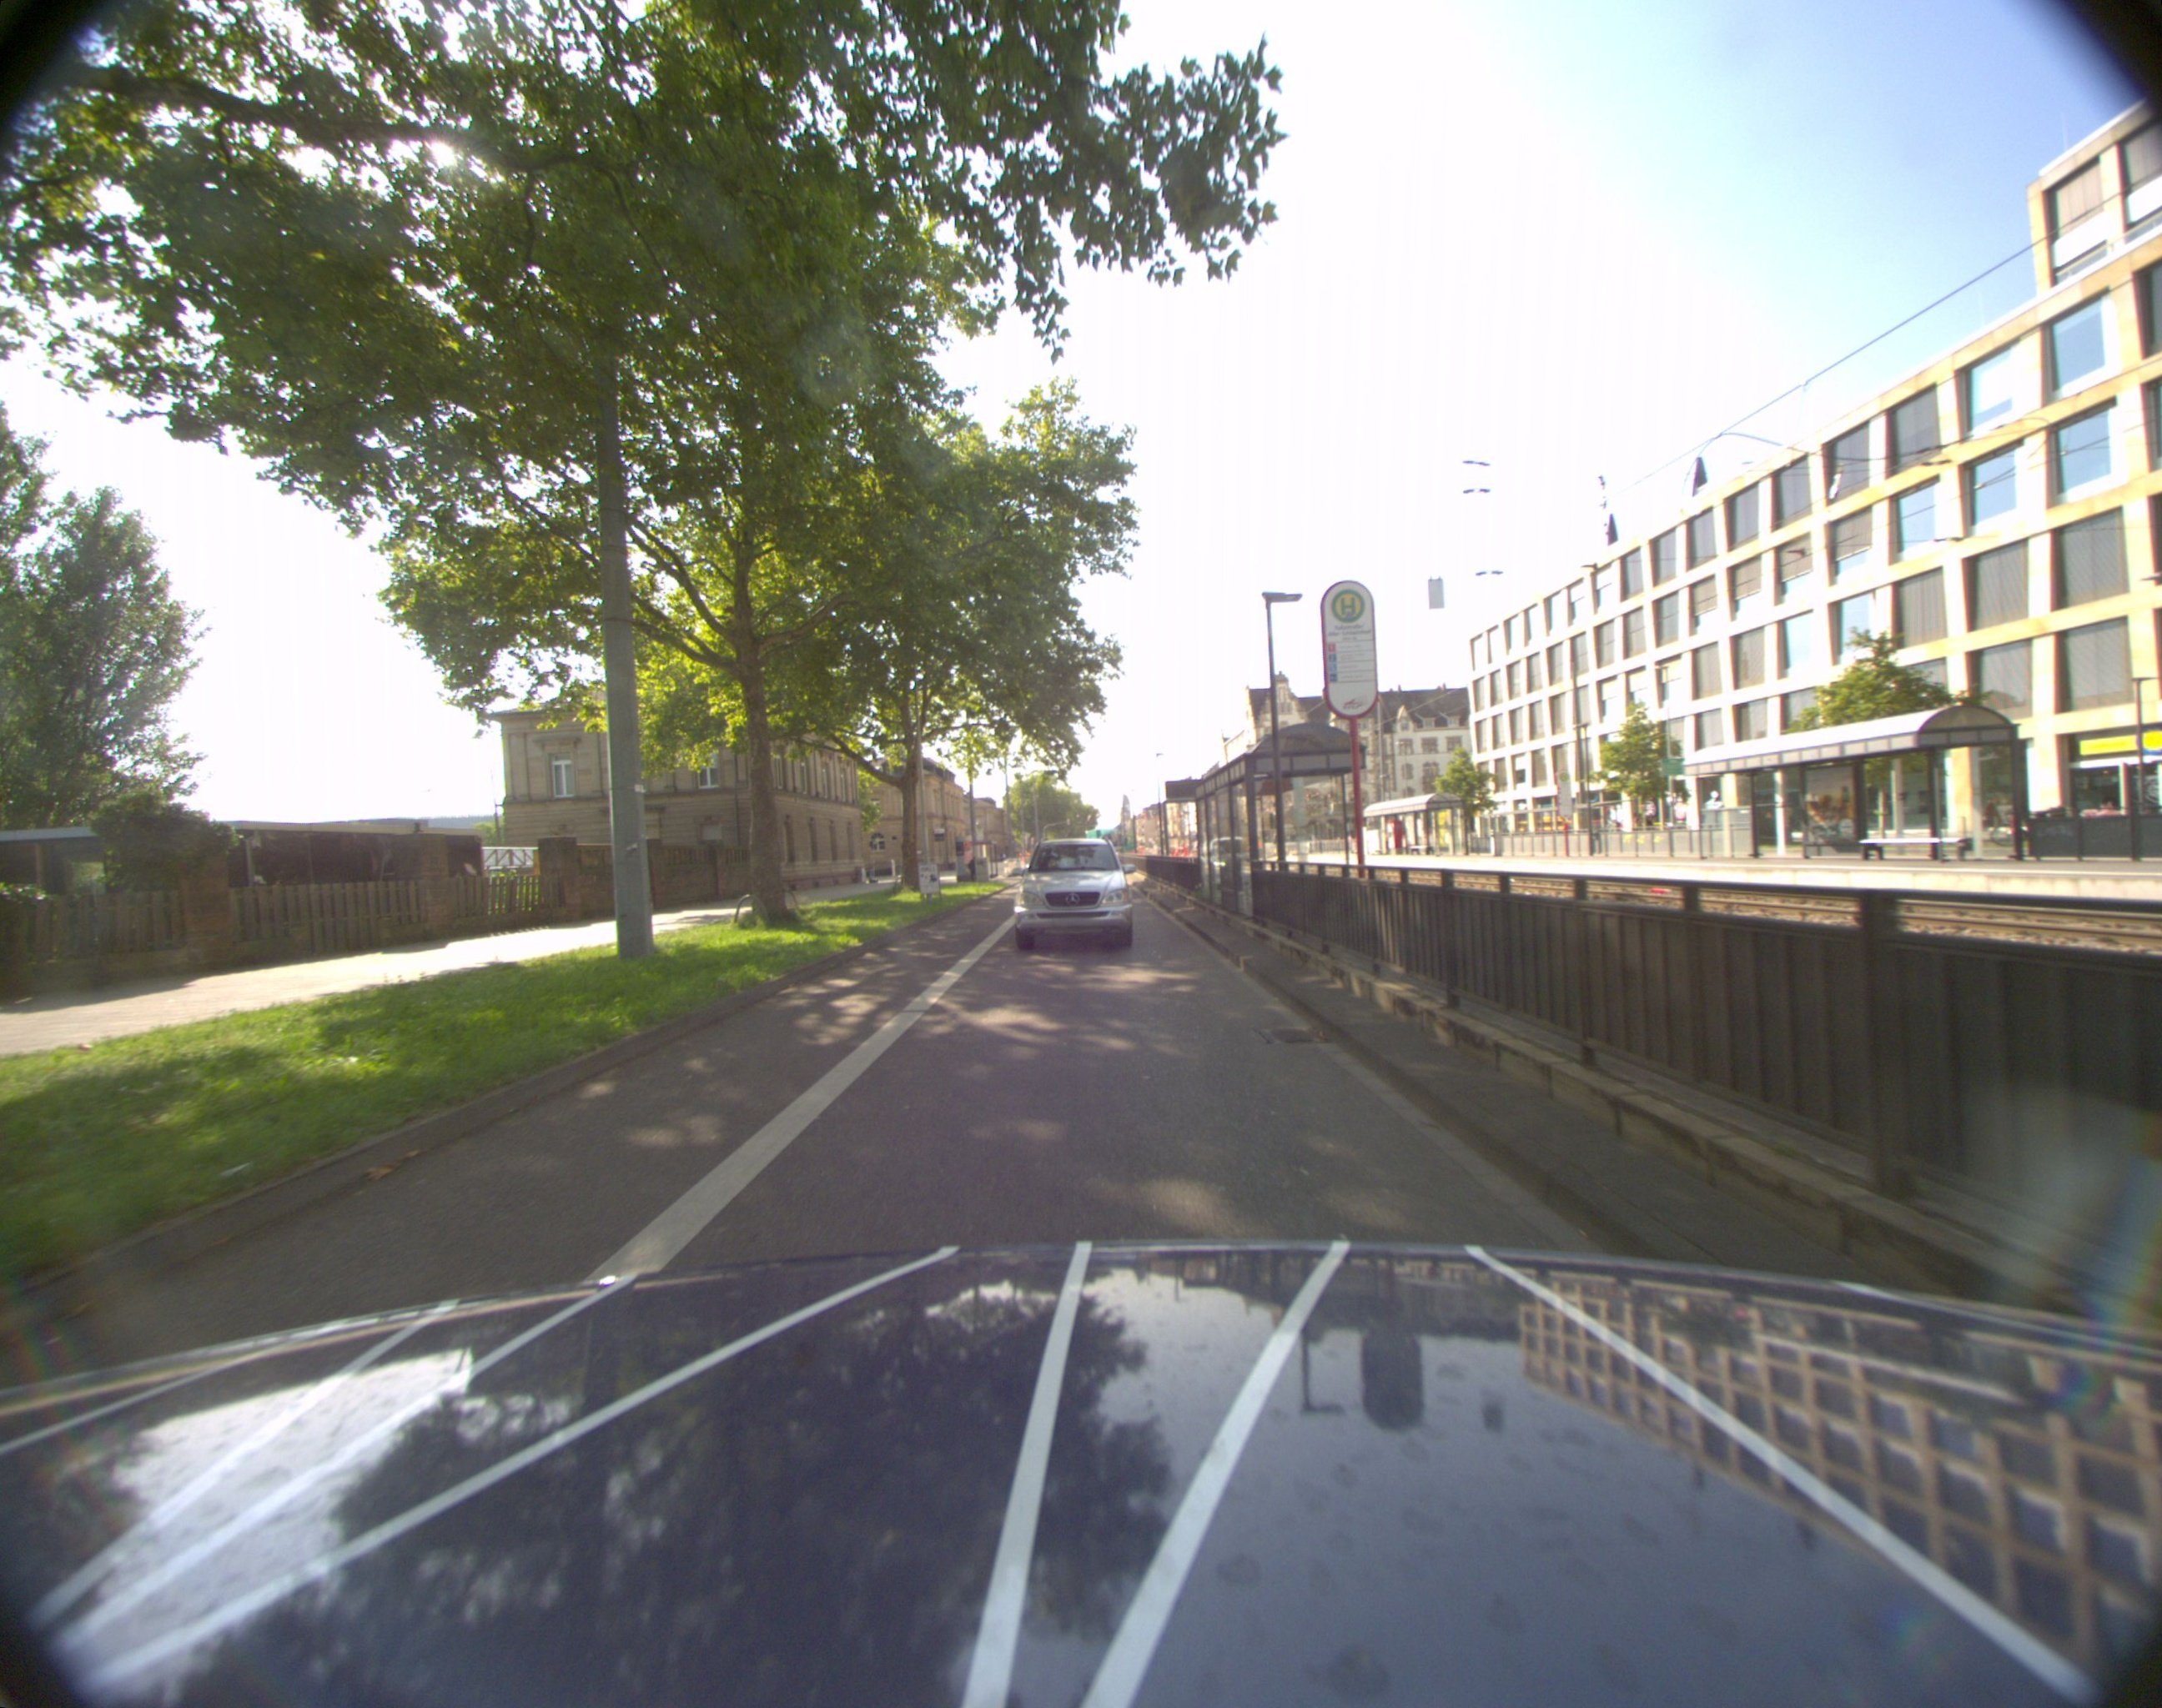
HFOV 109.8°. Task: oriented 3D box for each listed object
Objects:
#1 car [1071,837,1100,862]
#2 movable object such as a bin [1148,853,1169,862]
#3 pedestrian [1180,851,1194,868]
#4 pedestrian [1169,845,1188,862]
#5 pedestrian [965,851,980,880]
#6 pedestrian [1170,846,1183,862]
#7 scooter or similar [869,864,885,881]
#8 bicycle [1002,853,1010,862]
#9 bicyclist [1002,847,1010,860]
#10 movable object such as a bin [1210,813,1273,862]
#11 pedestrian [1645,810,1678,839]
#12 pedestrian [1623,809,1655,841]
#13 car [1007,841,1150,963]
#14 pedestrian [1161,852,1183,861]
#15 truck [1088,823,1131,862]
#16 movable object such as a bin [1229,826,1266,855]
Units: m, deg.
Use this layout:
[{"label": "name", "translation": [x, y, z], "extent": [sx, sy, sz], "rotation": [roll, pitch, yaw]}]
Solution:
[{"label": "car", "translation": [0.472, -0.504, 89.704], "extent": [2.232, 2.713, 5.165], "rotation": [-4, 1, -11]}, {"label": "movable object such as a bin", "translation": [6.451, 0.293, 63.183], "extent": [1.507, 0.649, 0.702], "rotation": [-3, 0, 22]}, {"label": "pedestrian", "translation": [8.784, 0.462, 62.781], "extent": [1.017, 1.299, 0.983], "rotation": [-3, 0, 4]}, {"label": "pedestrian", "translation": [8.291, -0.046, 64.728], "extent": [1.313, 1.299, 0.800], "rotation": [-3, 1, 25]}, {"label": "pedestrian", "translation": [-6.491, 0.685, 45.308], "extent": [0.690, 1.687, 0.647], "rotation": [-3, 1, -20]}, {"label": "pedestrian", "translation": [8.029, -0.014, 63.839], "extent": [0.838, 1.299, 0.800], "rotation": [-3, 1, 25]}, {"label": "scooter or similar", "translation": [-15.683, 1.415, 58.431], "extent": [0.421, 1.202, 1.257], "rotation": [-3, -1, 23]}, {"label": "bicycle", "translation": [-8.912, 0.467, 90.634], "extent": [0.719, 1.036, 1.902], "rotation": [-3, 0, -2]}, {"label": "bicyclist", "translation": [-8.935, -0.091, 90.606], "extent": [0.719, 1.534, 0.955], "rotation": [-3, 0, -2]}, {"label": "movable object such as a bin", "translation": [14.758, -1.477, 69.248], "extent": [3.507, 3.990, 9.055], "rotation": [-3, 0, 25]}, {"label": "pedestrian", "translation": [33.036, -1.660, 43.260], "extent": [0.978, 1.588, 1.123], "rotation": [-3, 1, 1]}, {"label": "pedestrian", "translation": [31.958, -1.654, 43.534], "extent": [0.978, 1.742, 1.123], "rotation": [-3, 1, 1]}, {"label": "car", "translation": [0.003, 0.681, 13.691], "extent": [1.998, 1.686, 5.225], "rotation": [-3, 0, 1]}, {"label": "pedestrian", "translation": [8.200, 0.208, 68.252], "extent": [1.906, 0.632, 0.912], "rotation": [-3, 0, 4]}, {"label": "truck", "translation": [2.799, -1.096, 77.515], "extent": [2.682, 3.657, 8.208], "rotation": [-3, 0, -8]}, {"label": "movable object such as a bin", "translation": [20.358, -1.632, 93.147], "extent": [2.853, 3.310, 8.346], "rotation": [-3, 1, 2]}]
